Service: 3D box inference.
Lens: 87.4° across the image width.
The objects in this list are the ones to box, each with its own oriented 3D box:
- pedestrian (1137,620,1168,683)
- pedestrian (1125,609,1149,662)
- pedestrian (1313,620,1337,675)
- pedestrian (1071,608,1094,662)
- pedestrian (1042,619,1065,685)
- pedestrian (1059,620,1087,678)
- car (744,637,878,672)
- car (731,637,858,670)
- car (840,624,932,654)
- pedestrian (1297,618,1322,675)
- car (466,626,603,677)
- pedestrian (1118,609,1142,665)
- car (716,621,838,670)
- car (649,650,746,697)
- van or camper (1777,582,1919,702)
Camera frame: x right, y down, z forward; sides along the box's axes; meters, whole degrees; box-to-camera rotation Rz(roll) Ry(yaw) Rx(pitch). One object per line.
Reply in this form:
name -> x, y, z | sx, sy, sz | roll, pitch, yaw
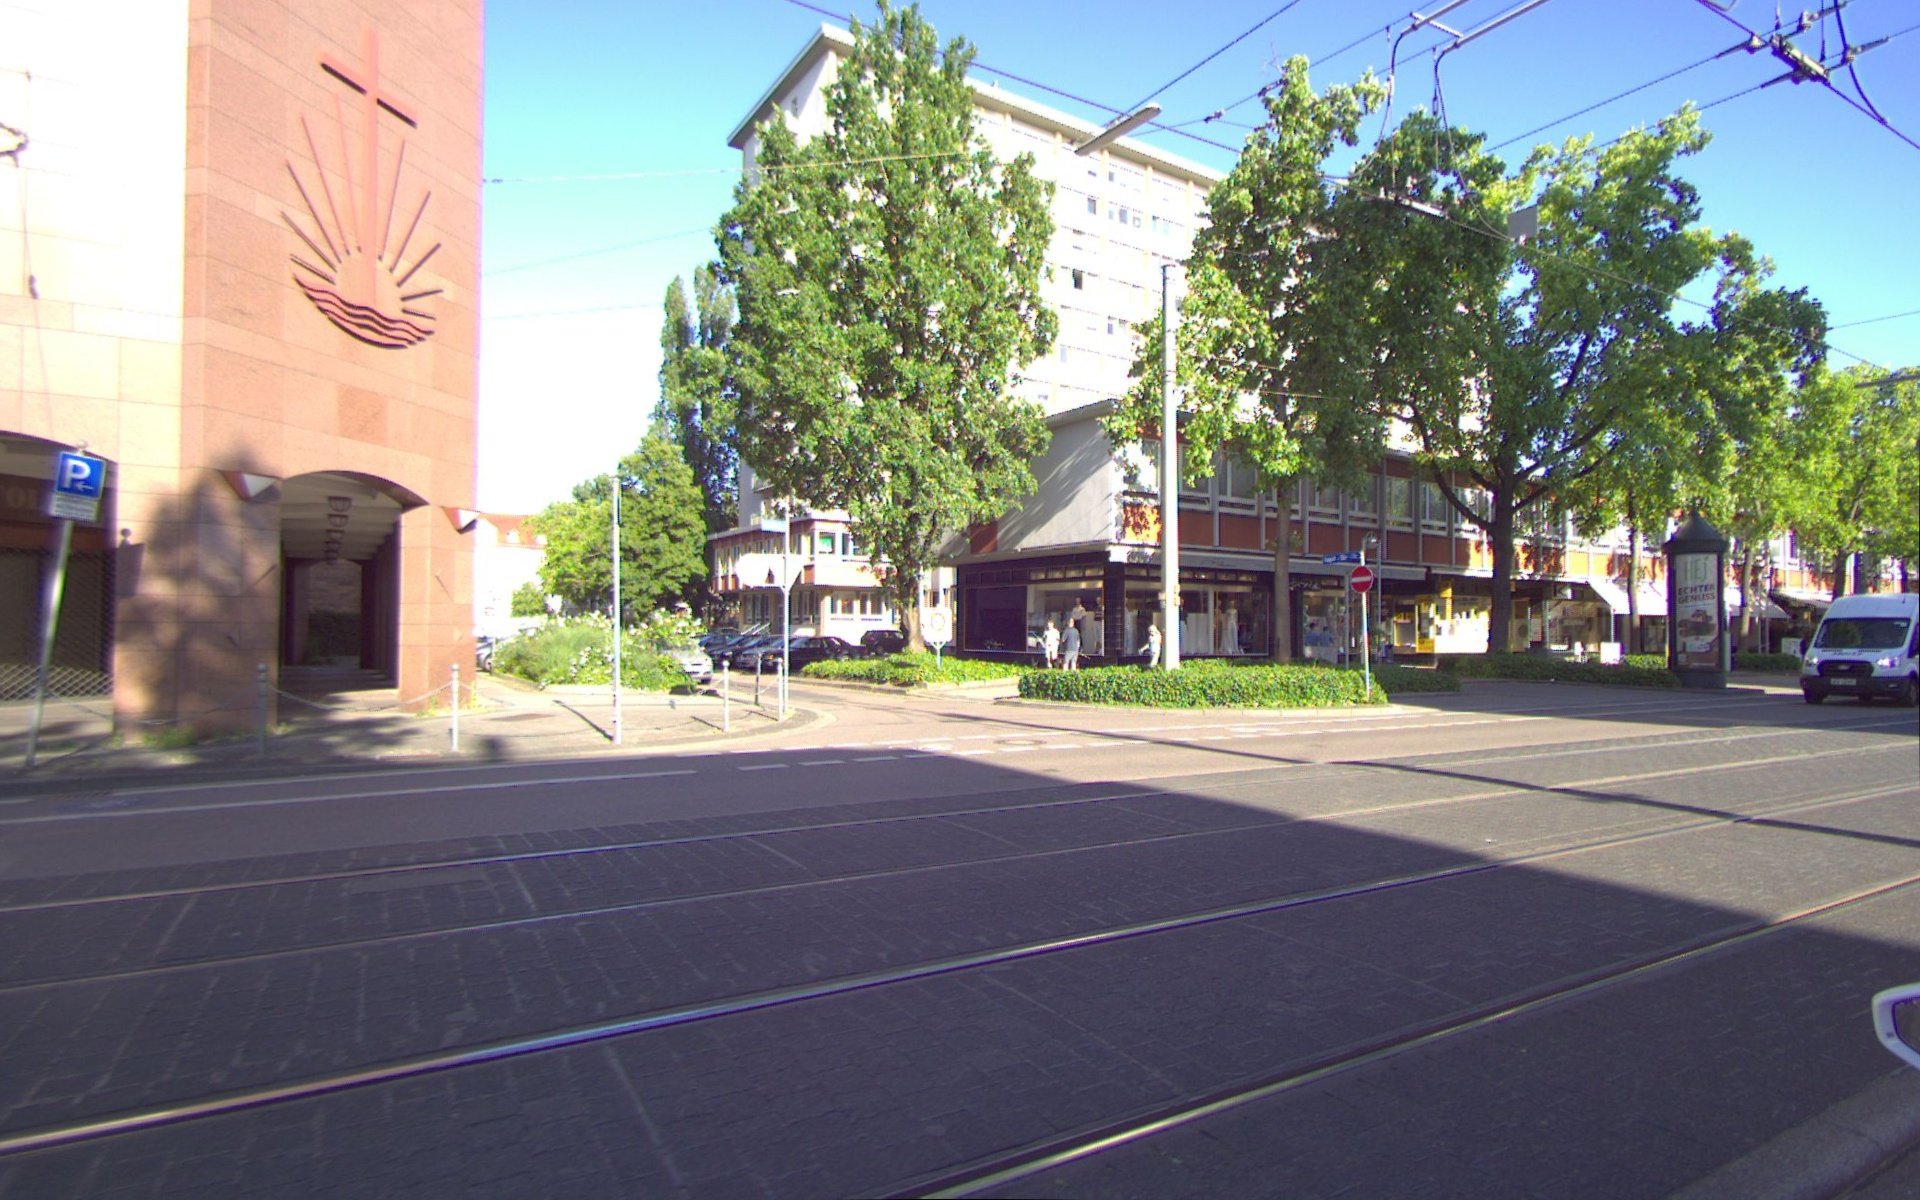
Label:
pedestrian -> 5.861, 1.563, 30.548 | 0.666, 1.872, 0.622 | 0, 1, -33
pedestrian -> 5.975, 1.191, 33.965 | 0.586, 1.794, 0.534 | 0, 1, -30
pedestrian -> 12.343, 1.605, 33.991 | 0.583, 1.826, 0.541 | 0, 1, -39
pedestrian -> 4.200, 1.179, 34.410 | 0.532, 1.808, 0.588 | 0, 1, -30
pedestrian -> 3.009, 1.653, 32.263 | 0.591, 2.094, 0.669 | 1, 1, 15
pedestrian -> 3.395, 1.475, 30.251 | 0.697, 1.716, 0.523 | -1, -2, -7
car -> -6.150, 2.218, 41.536 | 5.140, 1.231, 1.985 | 0, 1, -29
car -> -7.204, 2.296, 43.798 | 5.138, 1.231, 1.986 | 0, 1, -27
car -> -4.318, 2.274, 58.935 | 5.155, 1.575, 1.979 | 0, 0, -36
pedestrian -> 12.017, 1.590, 34.517 | 0.533, 1.897, 0.586 | 0, 1, -39
car -> -14.363, 1.746, 33.973 | 3.959, 1.600, 1.735 | 3, -3, -34
pedestrian -> 5.582, 1.201, 32.990 | 0.586, 1.808, 0.534 | 0, 1, -30
car -> -8.371, 2.033, 46.063 | 5.140, 2.041, 1.985 | 0, 1, -29
car -> -8.190, 2.225, 31.111 | 1.976, 1.016, 3.968 | -1, 1, -29
van or camper -> 23.257, 1.022, 25.318 | 6.806, 2.689, 2.128 | 1, -2, -33
